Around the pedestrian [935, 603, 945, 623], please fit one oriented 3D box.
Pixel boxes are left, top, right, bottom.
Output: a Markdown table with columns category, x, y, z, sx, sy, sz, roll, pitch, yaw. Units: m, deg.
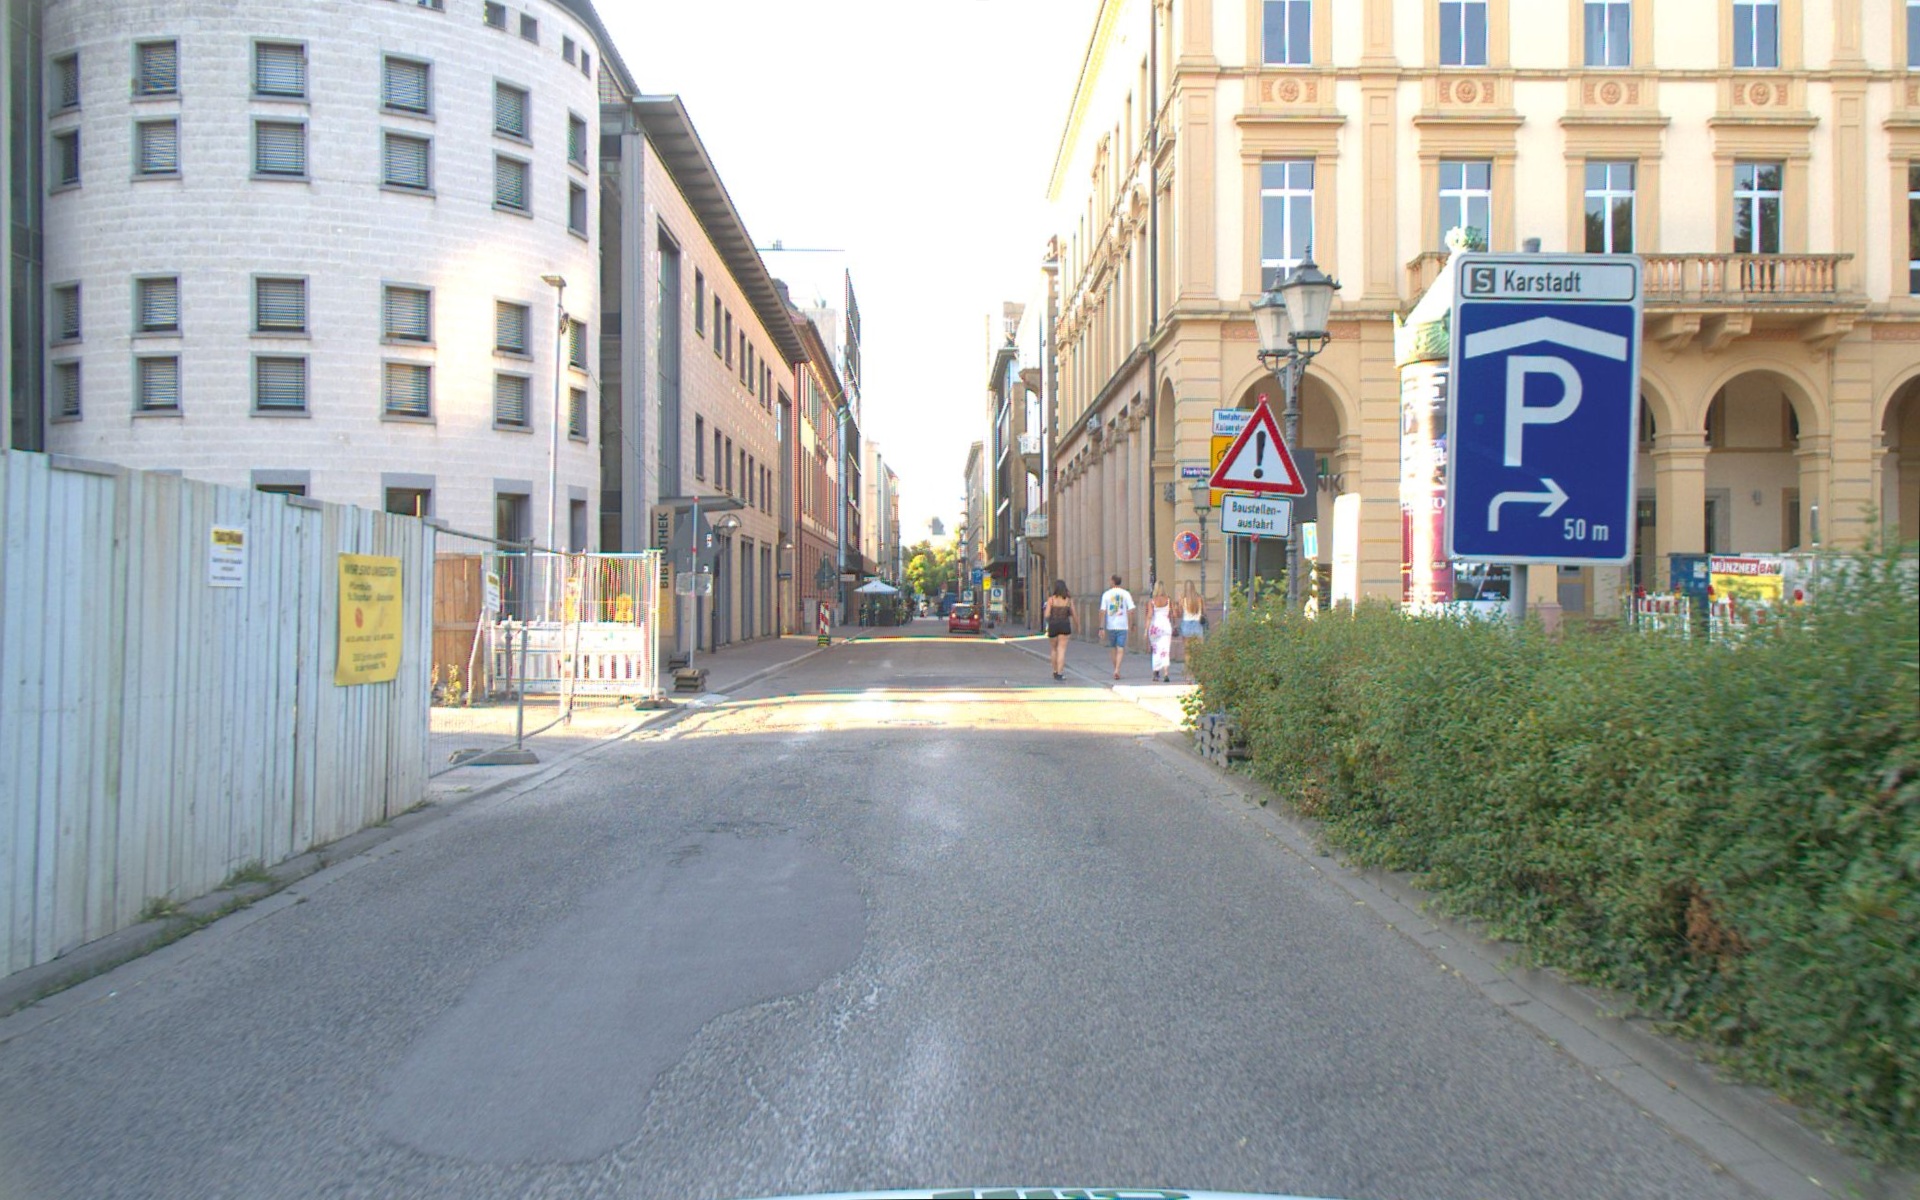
| category | x | y | z | sx | sy | sz | roll | pitch | yaw |
| --- | --- | --- | --- | --- | --- | --- | --- | --- | --- |
| pedestrian | -1.753 | 1.148 | 143.221 | 0.848 | 1.743 | 0.852 | 0 | -1 | -1 |

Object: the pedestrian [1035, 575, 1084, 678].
| category | x | y | z | sx | sy | sz | roll | pitch | yaw |
| --- | --- | --- | --- | --- | --- | --- | --- | --- | --- |
| pedestrian | 1.734 | 0.458 | 29.017 | 0.760 | 1.777 | 0.874 | -1 | -1 | -2 |

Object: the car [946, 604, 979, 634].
| category | x | y | z | sx | sy | sz | roll | pitch | yaw |
| --- | --- | --- | --- | --- | --- | --- | --- | --- | --- |
| car | 0.096 | 0.958 | 85.636 | 1.616 | 1.452 | 3.535 | 3 | 0 | 0 |

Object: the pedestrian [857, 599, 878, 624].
| category | x | y | z | sx | sy | sz | roll | pitch | yaw |
| --- | --- | --- | --- | --- | --- | --- | --- | --- | --- |
| pedestrian | -5.680 | 0.683 | 101.453 | 1.265 | 1.514 | 0.661 | 0 | -1 | -3 |

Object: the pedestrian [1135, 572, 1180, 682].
| category | x | y | z | sx | sy | sz | roll | pitch | yaw |
| --- | --- | --- | --- | --- | --- | --- | --- | --- | --- |
| pedestrian | 3.338 | 0.453 | 28.001 | 0.623 | 1.835 | 0.771 | -1 | -1 | -2 |

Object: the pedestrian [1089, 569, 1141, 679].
| category | x | y | z | sx | sy | sz | roll | pitch | yaw |
| --- | --- | --- | --- | --- | --- | --- | --- | --- | --- |
| pedestrian | 2.736 | 0.420 | 29.308 | 0.795 | 1.908 | 0.874 | -1 | -1 | -2 |

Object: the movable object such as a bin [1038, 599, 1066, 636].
| category | x | y | z | sx | sy | sz | roll | pitch | yaw |
| --- | --- | --- | --- | --- | --- | --- | --- | --- | --- |
| movable object such as a bin | 3.583 | 0.683 | 64.773 | 0.970 | 1.416 | 1.240 | -1 | 0 | -2 |

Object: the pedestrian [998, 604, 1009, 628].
| category | x | y | z | sx | sy | sz | roll | pitch | yaw |
| --- | --- | --- | --- | --- | --- | --- | --- | --- | --- |
| pedestrian | 2.691 | 0.986 | 102.429 | 0.643 | 1.514 | 0.493 | -1 | -1 | 1 |

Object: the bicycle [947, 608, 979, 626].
| category | x | y | z | sx | sy | sz | roll | pitch | yaw |
| --- | --- | --- | --- | --- | --- | --- | --- | --- | --- |
| bicycle | 0.181 | 1.077 | 107.496 | 2.012 | 1.154 | 0.648 | 0 | -1 | -5 |

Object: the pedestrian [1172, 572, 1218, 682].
| category | x | y | z | sx | sy | sz | roll | pitch | yaw |
| --- | --- | --- | --- | --- | --- | --- | --- | --- | --- |
| pedestrian | 3.979 | 0.452 | 28.044 | 0.623 | 1.835 | 0.771 | -1 | -1 | -2 |

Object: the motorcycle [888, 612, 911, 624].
| category | x | y | z | sx | sy | sz | roll | pitch | yaw |
| --- | --- | --- | --- | --- | --- | --- | --- | --- | --- |
| motorcycle | -4.588 | 1.334 | 125.407 | 1.766 | 0.891 | 0.560 | 0 | -1 | -5 |
